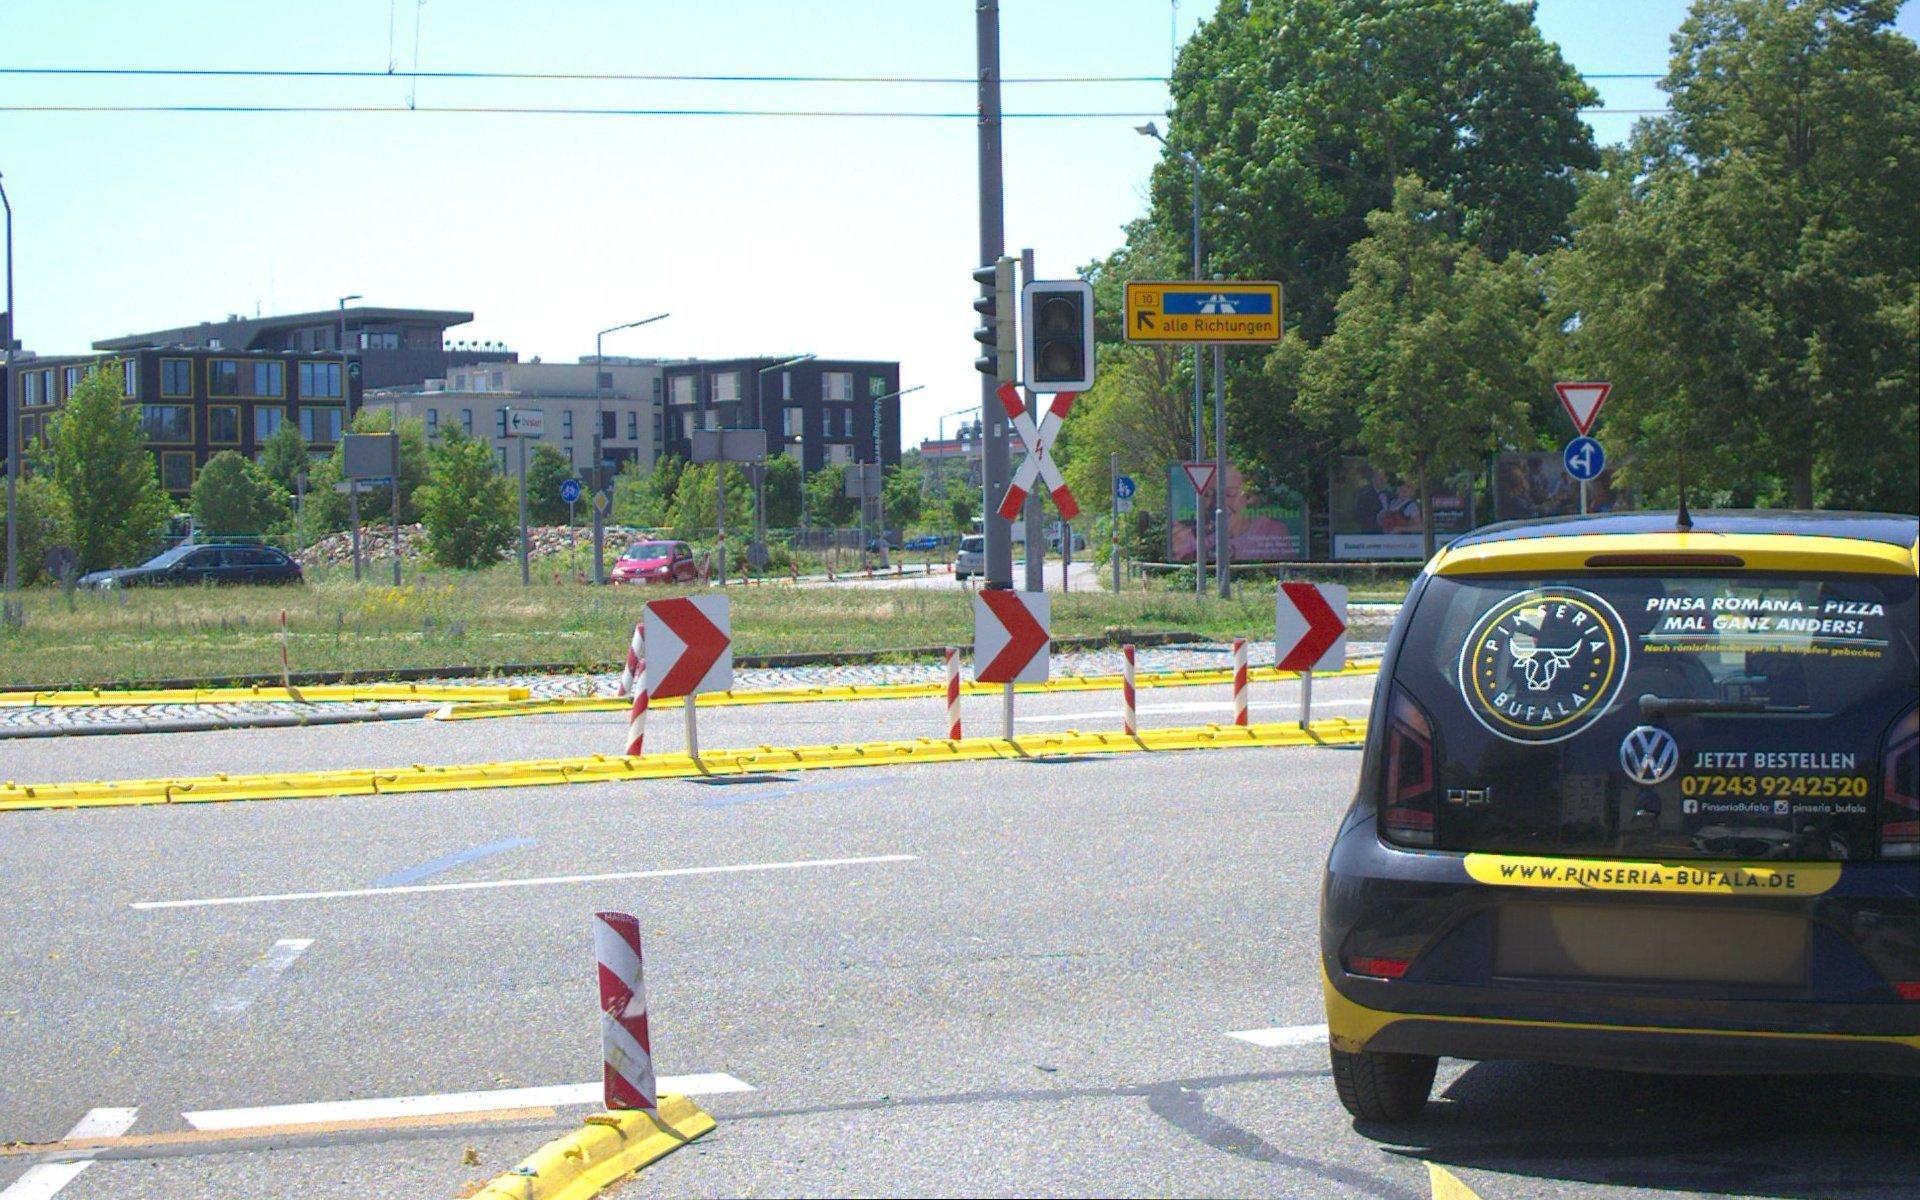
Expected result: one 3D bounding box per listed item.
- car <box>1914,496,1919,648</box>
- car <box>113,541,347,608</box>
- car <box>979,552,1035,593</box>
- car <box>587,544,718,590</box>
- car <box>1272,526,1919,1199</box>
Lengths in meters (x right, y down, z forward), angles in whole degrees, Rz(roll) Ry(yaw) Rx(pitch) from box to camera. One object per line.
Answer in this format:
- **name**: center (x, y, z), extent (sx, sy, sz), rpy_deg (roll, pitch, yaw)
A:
- **car**: center (10.900, -0.338, 35.045), extent (1.995, 1.481, 4.363), rpy_deg (-1, 1, 19)
- **car**: center (-15.672, -0.571, 73.880), extent (4.469, 1.314, 2.000), rpy_deg (-2, 2, -34)
- **car**: center (1.666, -0.982, 121.326), extent (1.658, 1.368, 3.031), rpy_deg (-1, 1, 6)
- **car**: center (-7.846, -0.851, 87.915), extent (1.496, 1.086, 3.514), rpy_deg (0, 2, 32)
- **car**: center (2.169, 0.529, 9.222), extent (1.620, 1.446, 3.982), rpy_deg (1, 1, 21)
